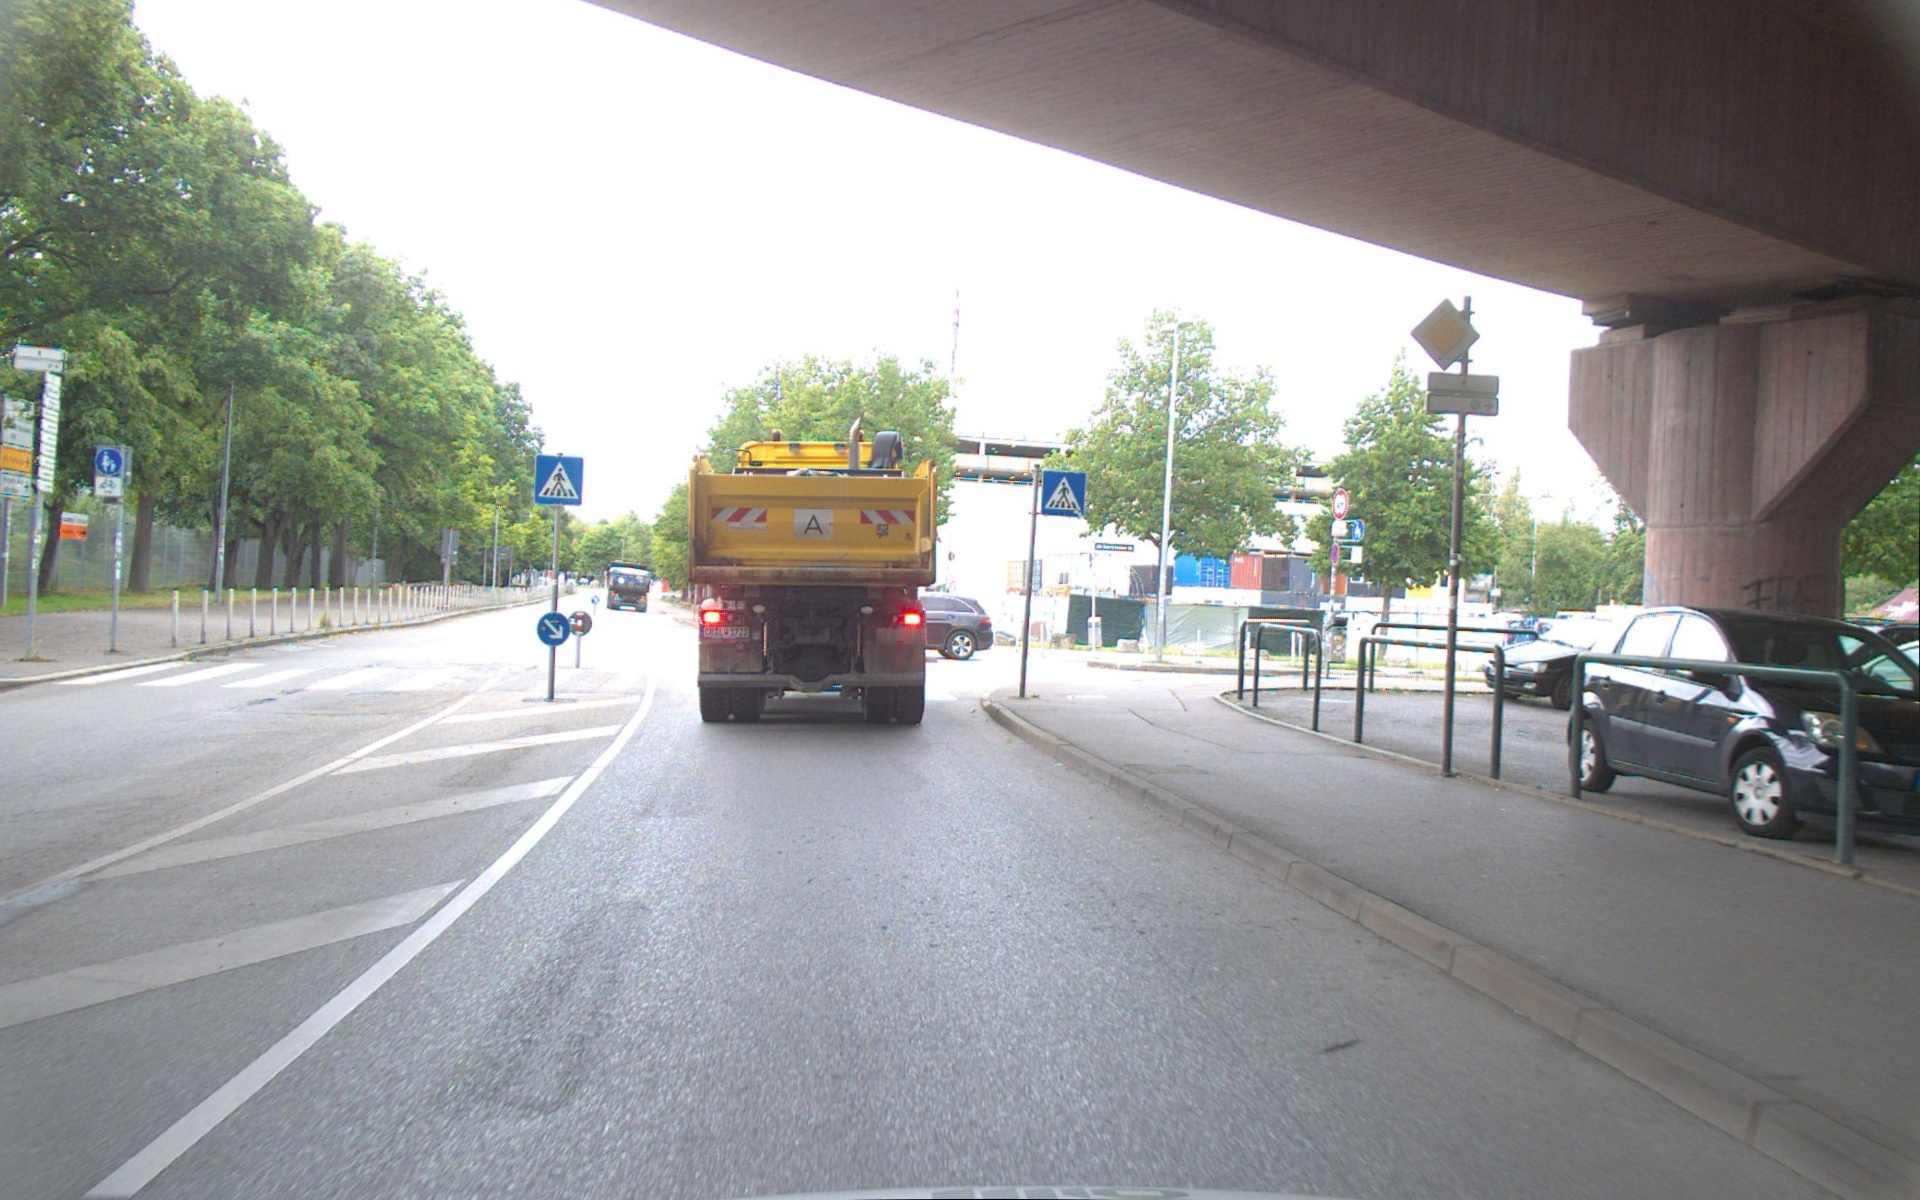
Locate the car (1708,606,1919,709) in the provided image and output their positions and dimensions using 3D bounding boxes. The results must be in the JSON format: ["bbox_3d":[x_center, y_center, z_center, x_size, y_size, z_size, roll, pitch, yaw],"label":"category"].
[{"bbox_3d":[14.289,0.930,26.514,4.166,1.445,1.504,2,2,-16],"label":"car"}]

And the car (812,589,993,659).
[{"bbox_3d":[-1.449,0.592,42.010,4.444,1.602,1.844,2,0,-3],"label":"car"}]

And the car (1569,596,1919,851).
[{"bbox_3d":[5.767,0.745,11.386,1.574,1.421,3.577,4,0,-4],"label":"car"}]

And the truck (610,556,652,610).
[{"bbox_3d":[-23.161,-1.134,116.190,2.627,3.621,7.897,0,-1,-13],"label":"truck"}]

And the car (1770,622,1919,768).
[{"bbox_3d":[11.441,1.114,18.901,1.608,1.579,3.992,2,0,-17],"label":"car"}]

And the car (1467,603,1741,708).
[{"bbox_3d":[9.706,0.832,24.998,3.625,1.352,1.505,3,1,-15],"label":"car"}]

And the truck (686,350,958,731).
[{"bbox_3d":[-1.795,-0.562,20.434,2.705,3.763,7.869,0,-1,-6],"label":"truck"}]
